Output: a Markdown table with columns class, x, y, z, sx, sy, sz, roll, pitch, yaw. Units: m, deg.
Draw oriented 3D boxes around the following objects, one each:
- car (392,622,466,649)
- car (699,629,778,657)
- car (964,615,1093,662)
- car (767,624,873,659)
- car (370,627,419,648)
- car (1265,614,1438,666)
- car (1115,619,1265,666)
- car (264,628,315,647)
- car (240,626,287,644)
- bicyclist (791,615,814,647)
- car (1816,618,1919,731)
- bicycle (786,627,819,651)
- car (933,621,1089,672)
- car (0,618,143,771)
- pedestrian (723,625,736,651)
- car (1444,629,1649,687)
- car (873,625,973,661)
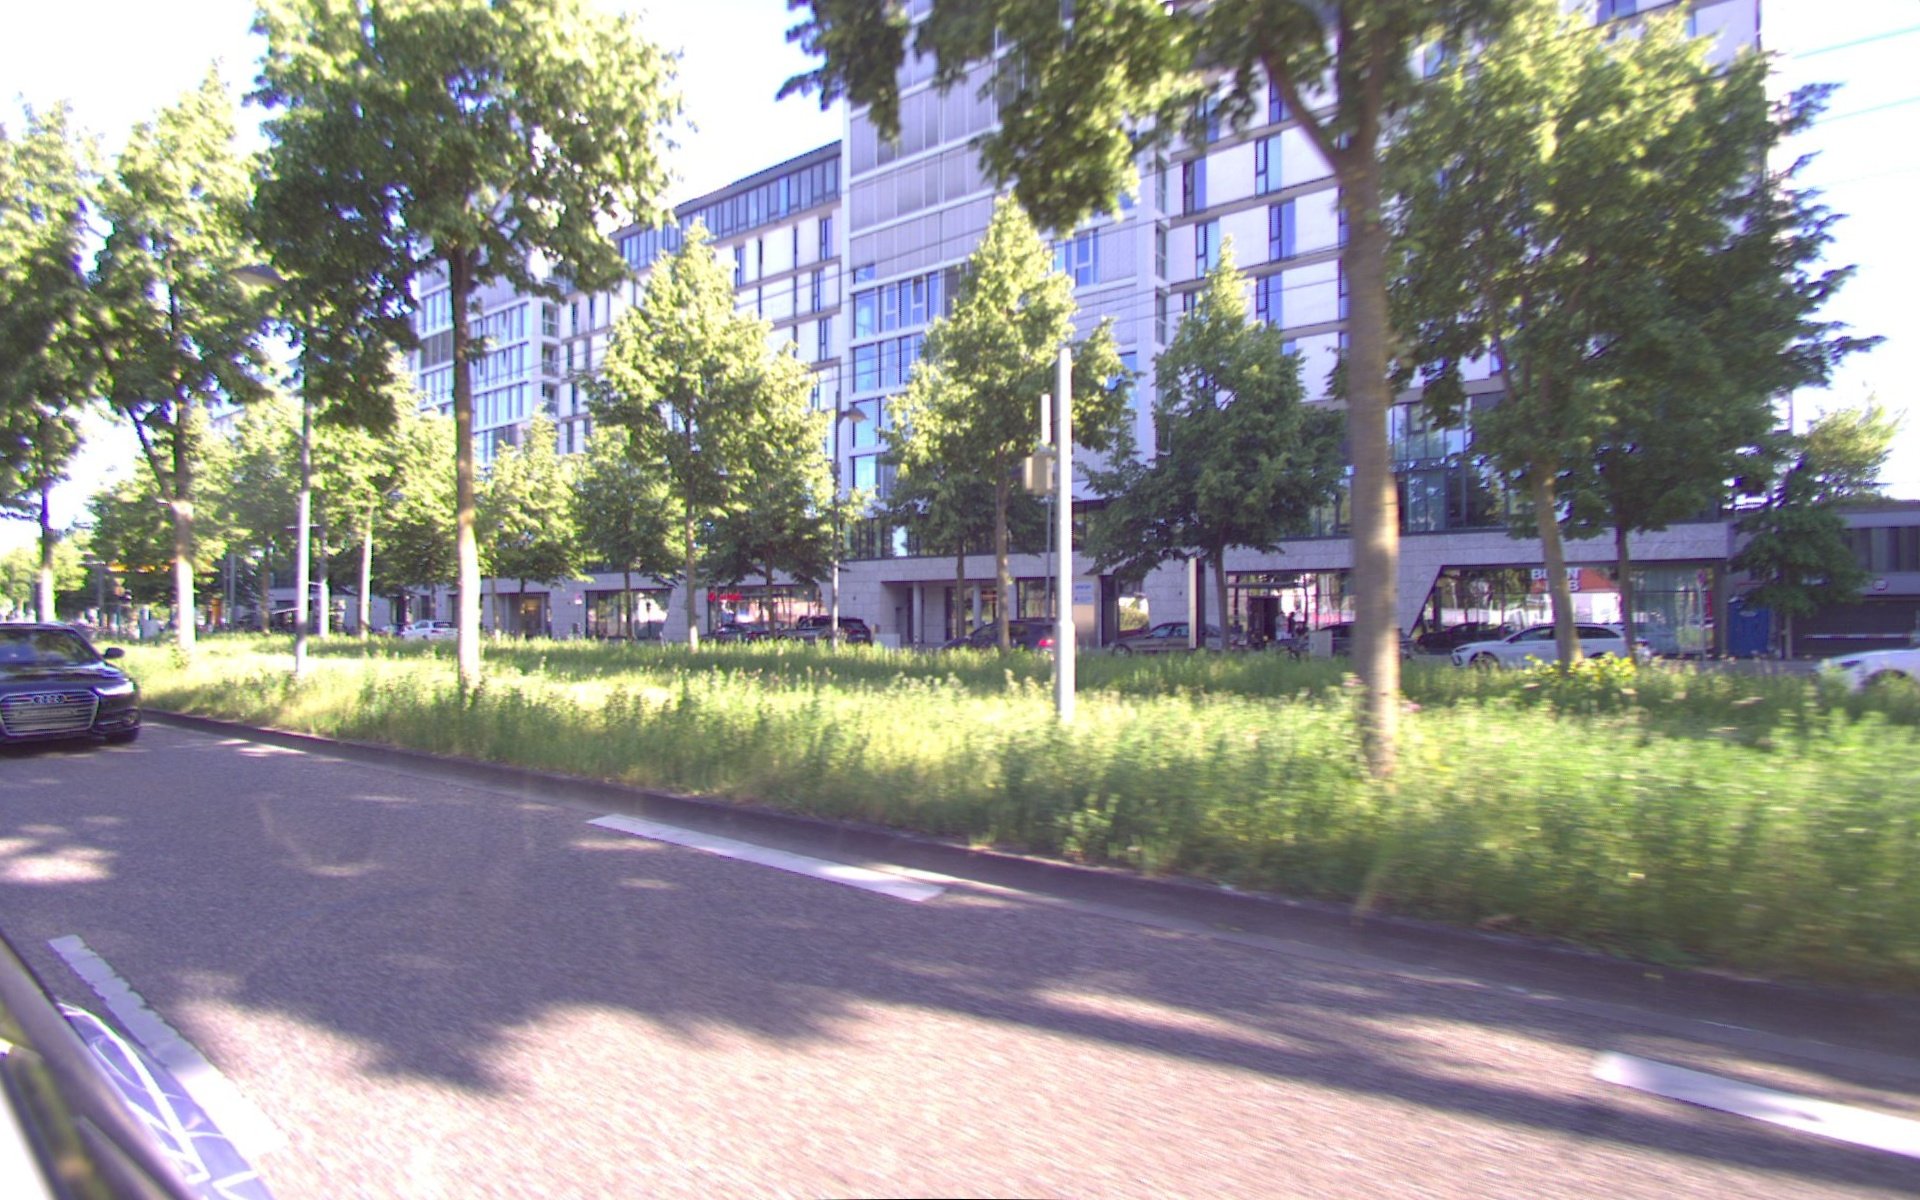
| class | x | y | z | sx | sy | sz | roll | pitch | yaw |
| --- | --- | --- | --- | --- | --- | --- | --- | --- | --- |
| car | -27.935 | 1.874 | 53.187 | 4.303 | 1.302 | 1.781 | -3 | -3 | 37 |
| car | -10.302 | 1.972 | 46.944 | 3.576 | 1.217 | 1.653 | -2 | -2 | 37 |
| car | 2.782 | 1.611 | 41.910 | 5.118 | 1.790 | 1.782 | -2 | -1 | 36 |
| car | -6.104 | 1.790 | 43.703 | 4.797 | 1.430 | 1.652 | -1 | -2 | 37 |
| car | -38.129 | 2.520 | 68.220 | 3.460 | 1.244 | 1.634 | 0 | 0 | 37 |
| car | 11.616 | 1.165 | 30.207 | 4.540 | 1.431 | 1.698 | -1 | -1 | 39 |
| car | 7.528 | 1.367 | 33.313 | 4.538 | 1.431 | 1.699 | -1 | -1 | 38 |
| car | -52.420 | 2.931 | 79.136 | 4.538 | 1.431 | 1.980 | -1 | -1 | 38 |
| car | -57.565 | 2.868 | 83.583 | 4.538 | 1.431 | 1.940 | -1 | -2 | 38 |
| bicyclist | -7.527 | 1.471 | 48.349 | 0.831 | 1.475 | 0.713 | -2 | -2 | 39 |
| car | 16.182 | 1.129 | 15.647 | 4.312 | 1.701 | 1.781 | -2 | -1 | 36 |
| bicycle | -7.522 | 1.850 | 48.344 | 1.569 | 1.128 | 0.725 | -2 | -2 | 40 |
| car | 1.373 | 1.243 | 27.871 | 3.994 | 1.273 | 1.781 | -1 | -1 | 37 |
| car | -11.387 | 1.017 | 11.989 | 4.596 | 1.538 | 1.766 | -2 | -1 | 39 |
| pedestrian | -13.043 | 2.128 | 57.290 | 0.689 | 1.423 | 0.404 | 0 | 0 | 37 |
| car | 15.547 | 1.491 | 26.958 | 4.538 | 1.431 | 1.699 | -1 | -2 | 38 |
| car | -1.481 | 1.678 | 40.038 | 3.747 | 1.364 | 1.717 | -1 | -1 | 37 |
